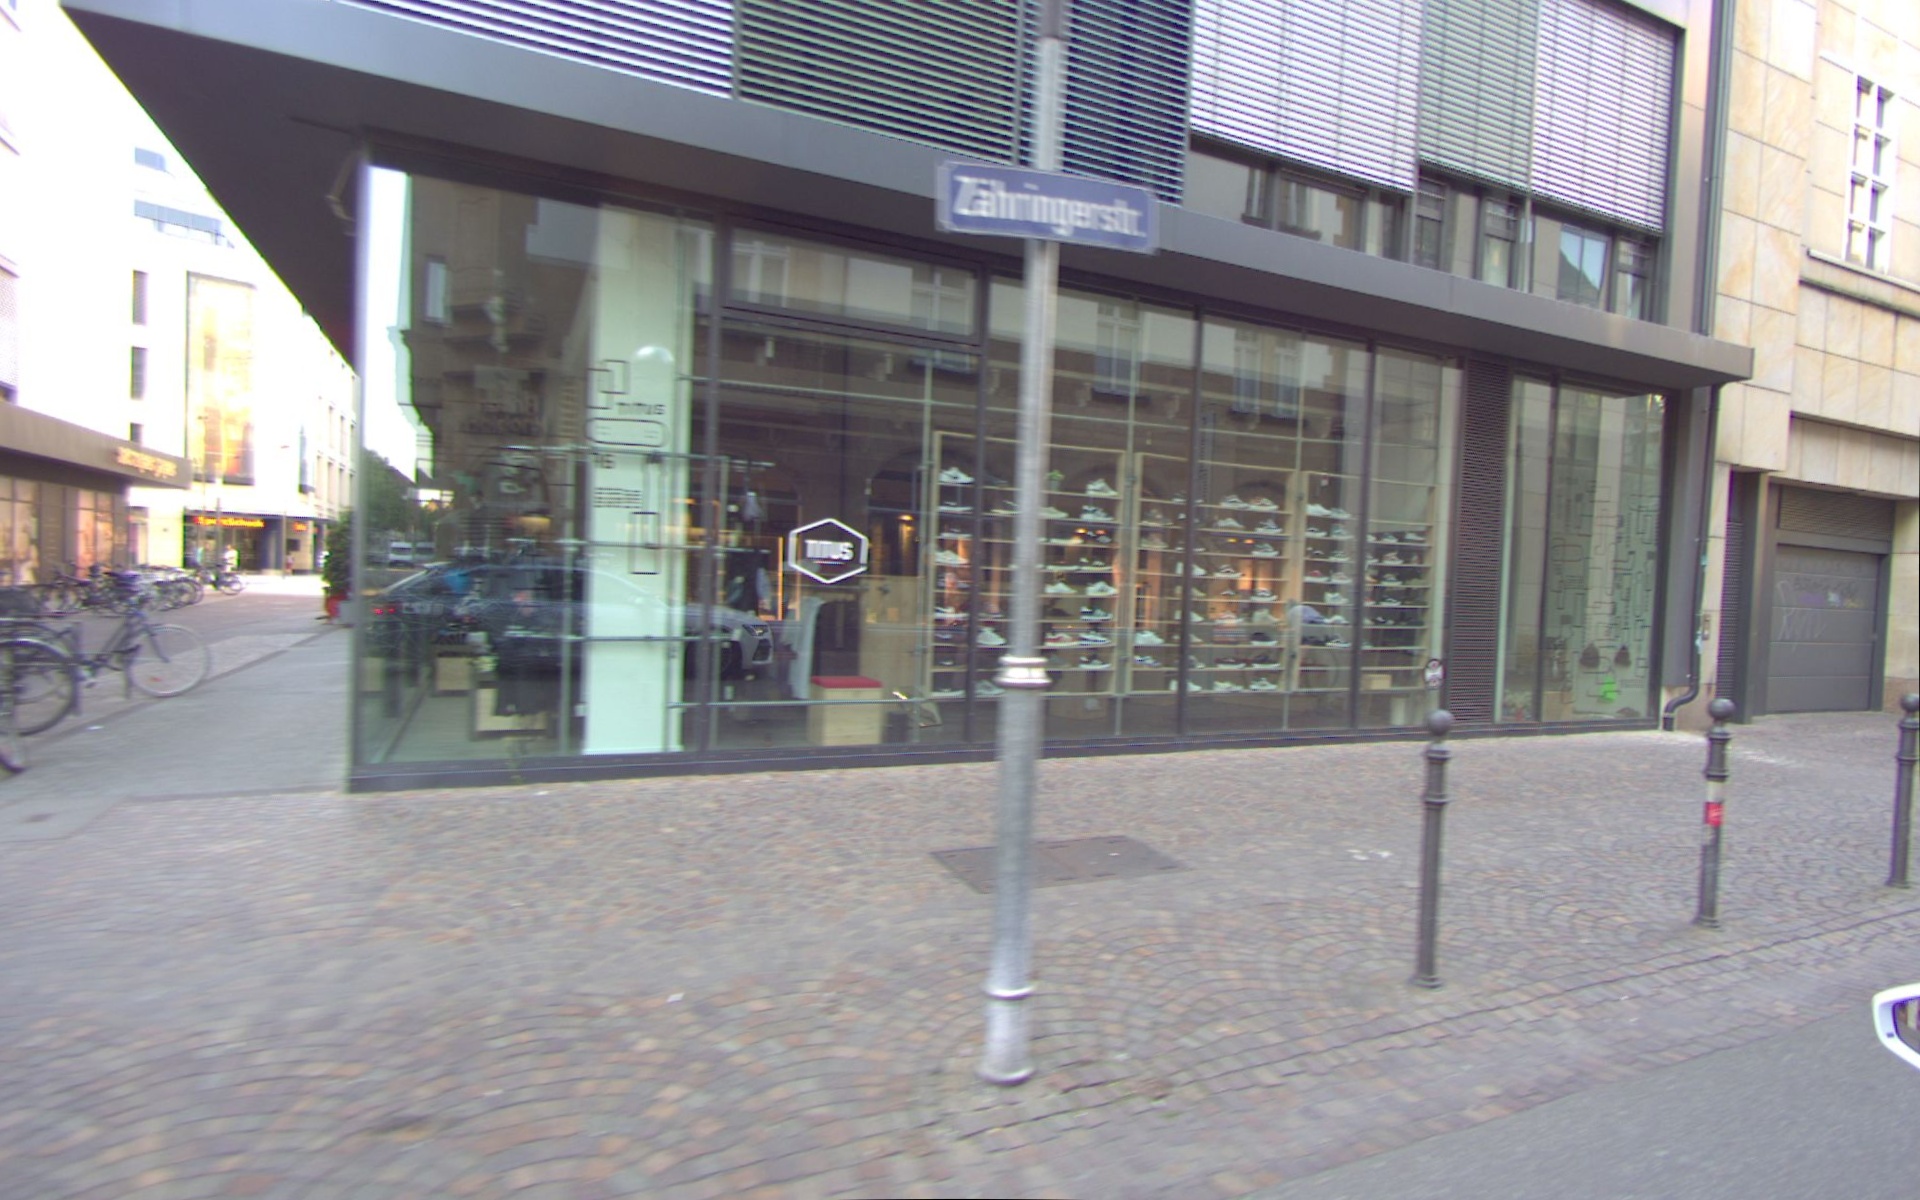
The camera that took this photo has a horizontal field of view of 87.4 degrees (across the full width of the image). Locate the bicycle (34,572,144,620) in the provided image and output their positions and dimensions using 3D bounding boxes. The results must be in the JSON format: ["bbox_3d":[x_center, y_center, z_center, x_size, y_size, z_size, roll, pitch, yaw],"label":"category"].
[{"bbox_3d":[-19.533,-0.087,22.570,1.772,1.022,0.527,1,1,-27],"label":"bicycle"}]

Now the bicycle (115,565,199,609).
[{"bbox_3d":[-21.825,-0.350,27.321,1.711,1.161,0.463,1,1,-27],"label":"bicycle"}]

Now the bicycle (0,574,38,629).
[{"bbox_3d":[-18.122,0.017,18.613,1.436,1.019,0.463,1,1,-27],"label":"bicycle"}]

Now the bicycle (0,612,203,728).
[{"bbox_3d":[-7.537,0.573,8.468,1.770,0.907,0.451,0,2,-27],"label":"bicycle"}]

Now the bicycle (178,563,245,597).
[{"bbox_3d":[-24.910,-0.661,33.444,1.711,1.076,0.434,1,1,-27],"label":"bicycle"}]

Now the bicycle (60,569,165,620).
[{"bbox_3d":[-20.136,-0.121,23.897,1.825,1.151,0.463,1,1,-27],"label":"bicycle"}]

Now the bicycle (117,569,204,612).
[{"bbox_3d":[-20.917,-0.237,26.306,1.711,1.065,0.463,1,1,-27],"label":"bicycle"}]

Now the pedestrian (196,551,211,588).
[{"bbox_3d":[-32.746,-1.307,43.471,0.475,1.573,0.429,1,2,-41],"label":"pedestrian"}]

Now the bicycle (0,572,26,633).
[{"bbox_3d":[-17.412,0.024,17.532,1.536,1.051,0.463,1,1,-27],"label":"bicycle"}]

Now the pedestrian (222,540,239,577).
[{"bbox_3d":[-32.191,-1.826,44.327,0.372,1.594,0.478,2,1,14],"label":"pedestrian"}]

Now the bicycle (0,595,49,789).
[{"bbox_3d":[-6.548,0.549,5.873,1.652,1.128,0.704,0,2,-27],"label":"bicycle"}]

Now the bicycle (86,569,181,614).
[{"bbox_3d":[-20.623,-0.199,25.086,1.754,1.065,0.463,1,1,-27],"label":"bicycle"}]

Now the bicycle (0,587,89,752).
[{"bbox_3d":[-7.461,0.493,7.123,1.817,1.166,0.605,0,2,-27],"label":"bicycle"}]

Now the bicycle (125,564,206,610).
[{"bbox_3d":[-22.186,-0.364,28.087,1.711,1.245,0.463,1,1,-27],"label":"bicycle"}]

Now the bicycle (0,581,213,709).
[{"bbox_3d":[-8.410,0.412,9.664,1.886,1.160,0.553,0,2,-27],"label":"bicycle"}]

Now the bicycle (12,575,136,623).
[{"bbox_3d":[-18.939,-0.015,21.518,1.920,0.970,0.463,1,1,-27],"label":"bicycle"}]
